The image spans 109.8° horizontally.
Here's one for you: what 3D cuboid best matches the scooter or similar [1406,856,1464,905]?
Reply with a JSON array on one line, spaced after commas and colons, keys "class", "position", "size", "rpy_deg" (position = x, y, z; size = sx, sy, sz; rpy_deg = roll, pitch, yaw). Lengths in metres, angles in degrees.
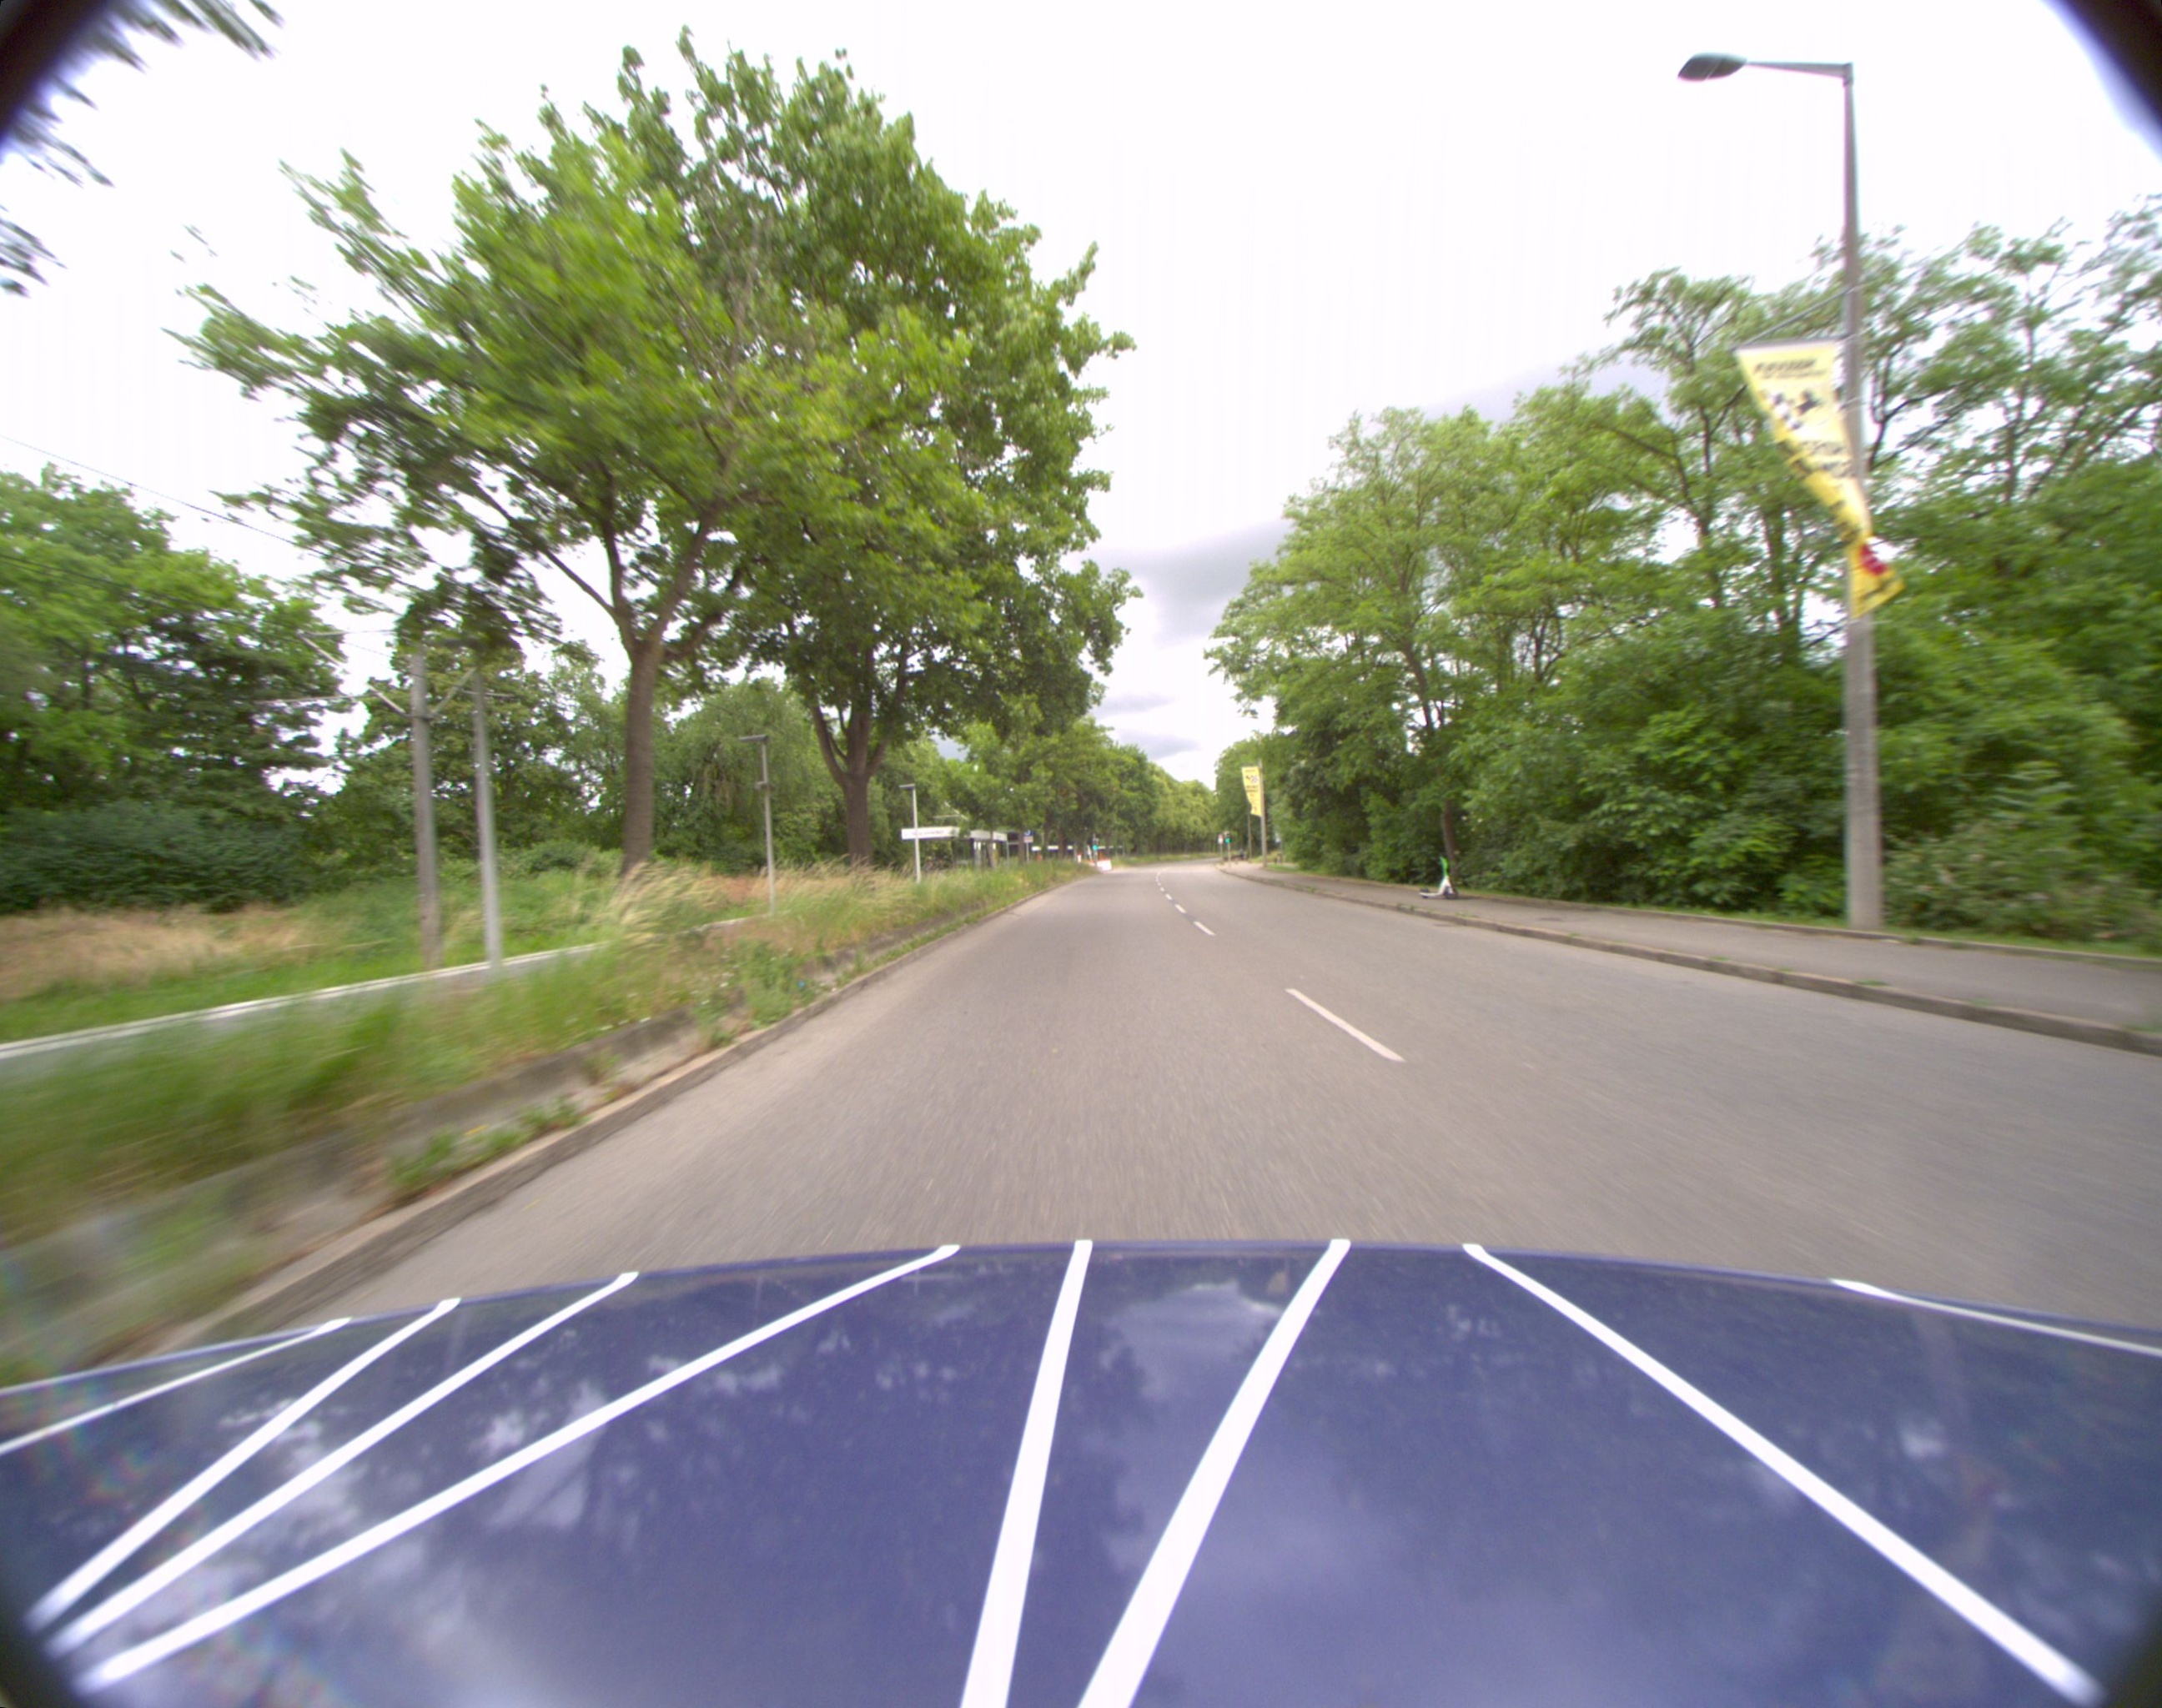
[{"class": "scooter or similar", "position": [8.956, 0.669, 19.273], "size": [0.366, 1.177, 1.295], "rpy_deg": [-4, 0, -29]}]
